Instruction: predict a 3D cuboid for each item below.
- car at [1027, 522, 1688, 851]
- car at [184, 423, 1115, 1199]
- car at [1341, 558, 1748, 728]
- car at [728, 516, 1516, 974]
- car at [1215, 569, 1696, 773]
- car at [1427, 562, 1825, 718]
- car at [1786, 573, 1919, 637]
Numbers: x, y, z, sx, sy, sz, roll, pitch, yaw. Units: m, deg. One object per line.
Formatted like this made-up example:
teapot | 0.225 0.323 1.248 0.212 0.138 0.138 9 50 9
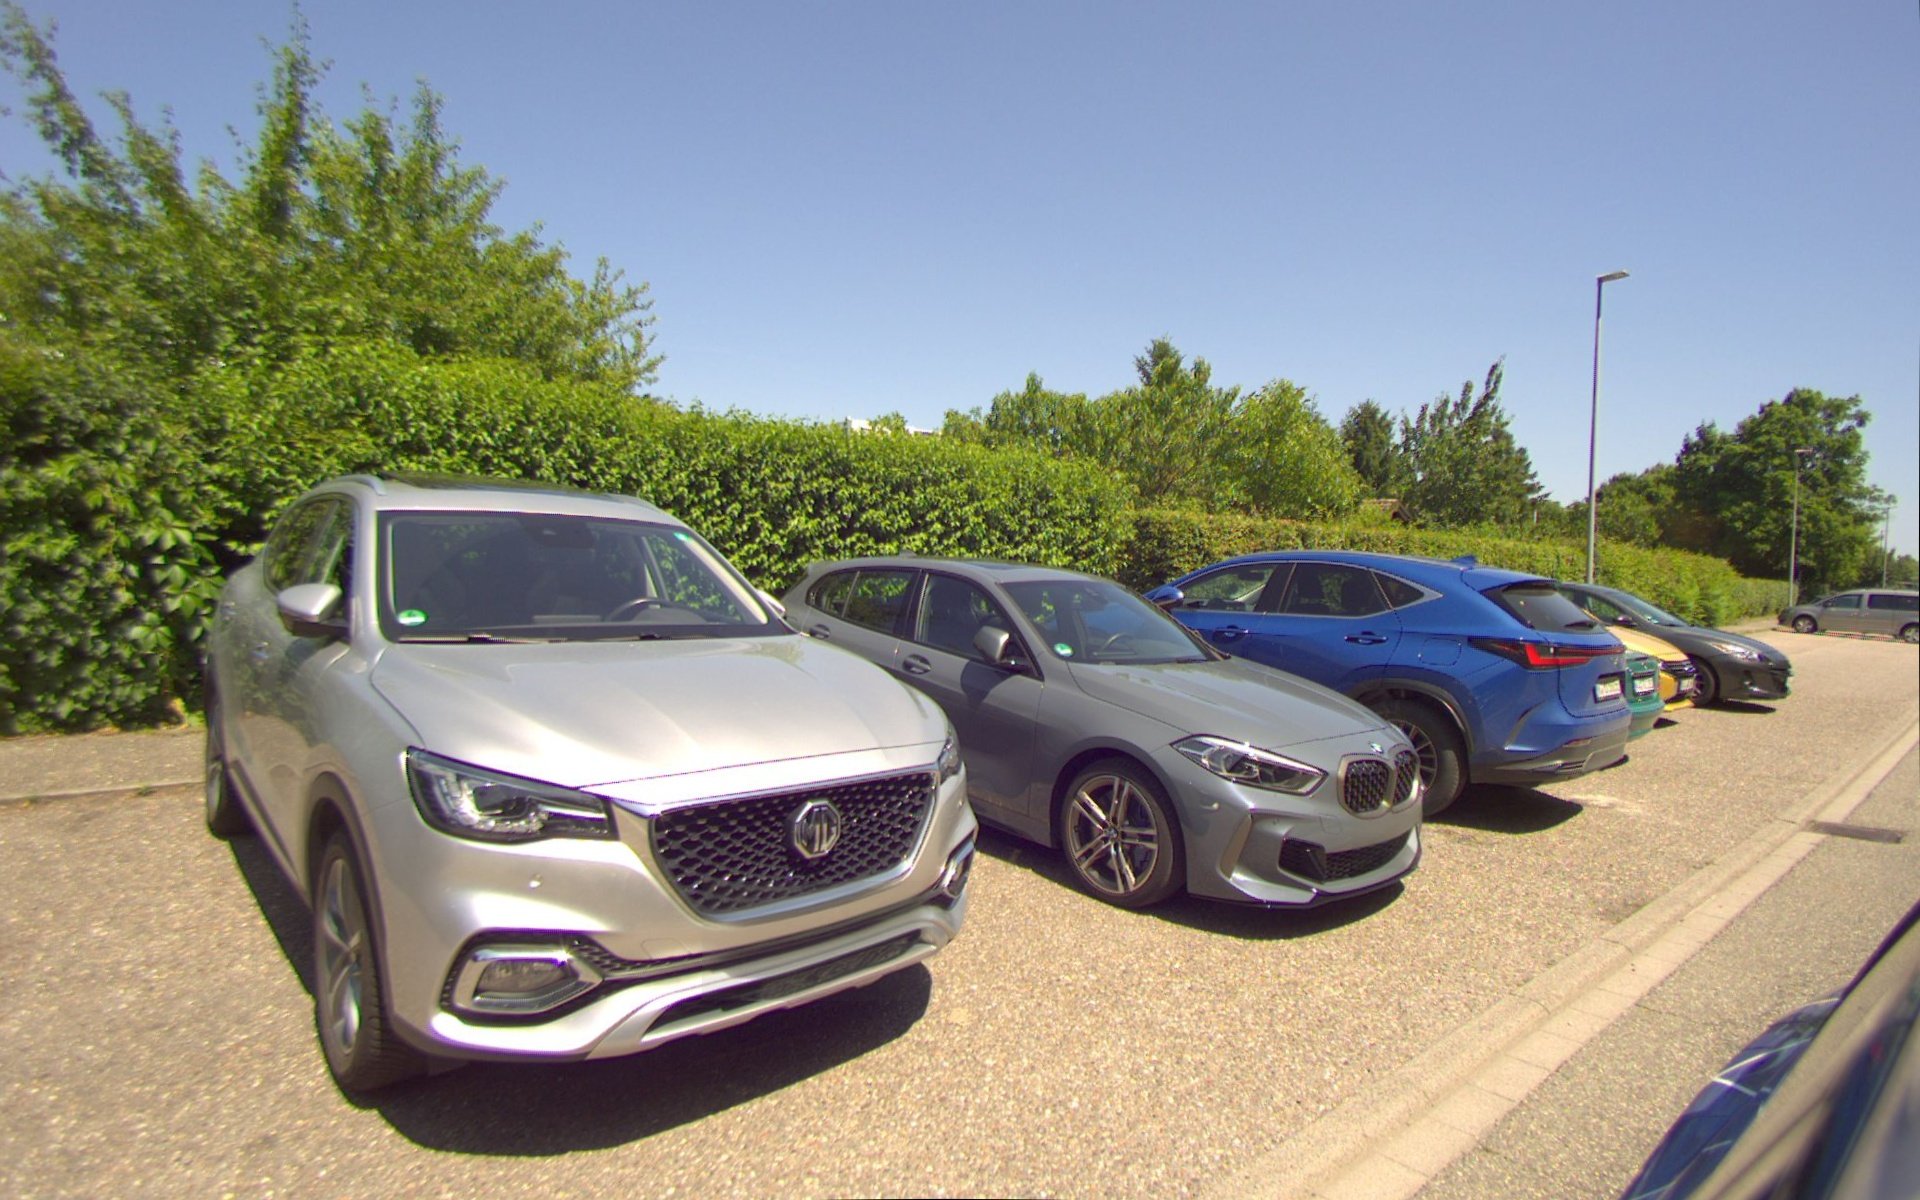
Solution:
car | 2.692 0.353 7.685 1.792 1.653 4.247 0 5 -42
car | -1.672 0.295 4.040 1.868 1.673 4.244 -2 7 -43
car | 6.855 0.375 12.277 1.740 1.472 3.820 1 5 -32
car | 0.547 0.395 5.746 1.784 1.455 4.139 0 7 -43
car | 4.533 0.512 9.679 1.600 1.283 3.743 1 5 -42
car | 8.988 0.402 13.936 1.851 1.513 4.173 0 6 -42
car | 33.137 0.219 36.642 1.962 1.869 4.630 1 6 -43
